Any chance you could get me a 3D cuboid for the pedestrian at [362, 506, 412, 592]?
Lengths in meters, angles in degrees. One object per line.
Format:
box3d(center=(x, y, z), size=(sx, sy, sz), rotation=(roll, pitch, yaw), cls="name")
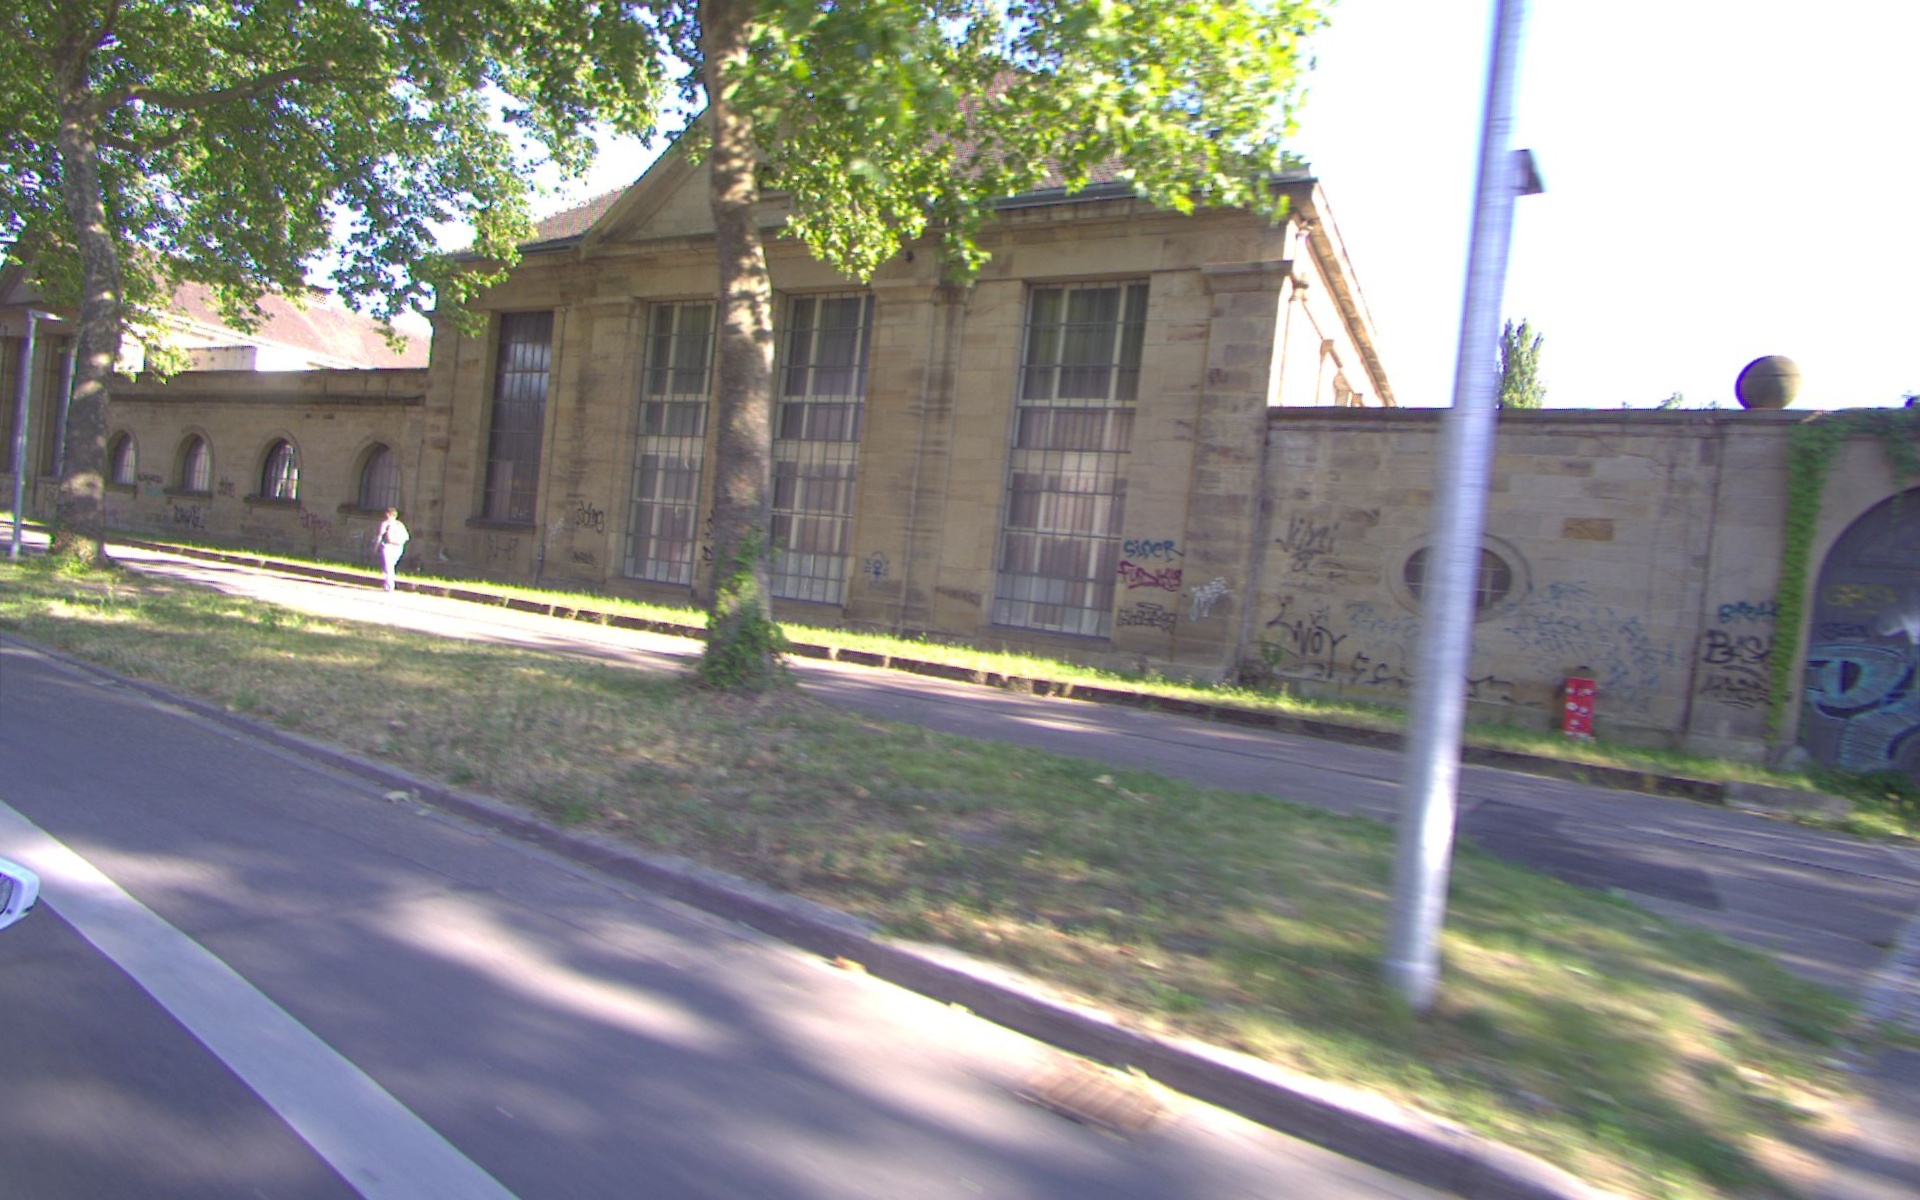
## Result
box3d(center=(-11.808, -1.050, 20.730), size=(0.625, 1.706, 0.608), rotation=(7, 6, 27), cls="pedestrian")
